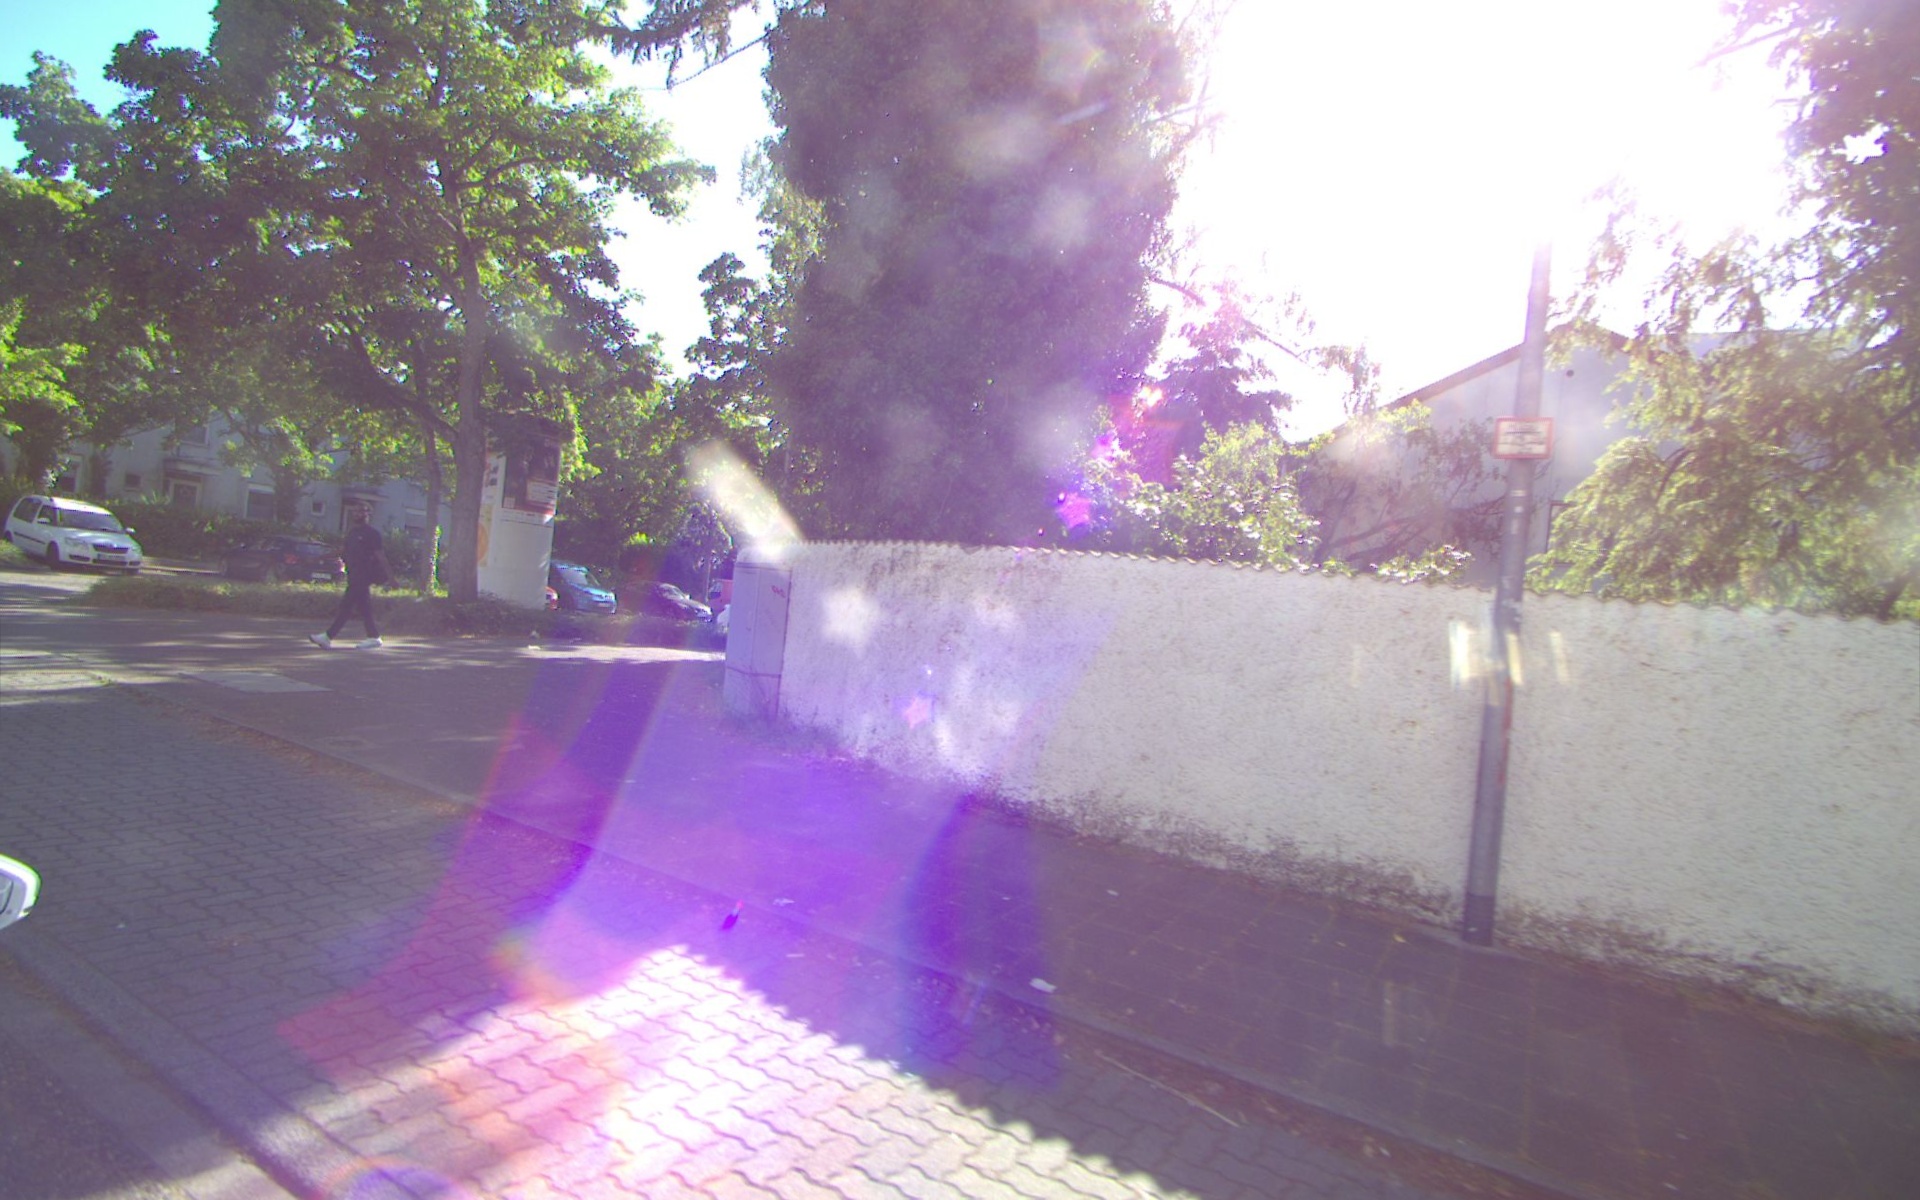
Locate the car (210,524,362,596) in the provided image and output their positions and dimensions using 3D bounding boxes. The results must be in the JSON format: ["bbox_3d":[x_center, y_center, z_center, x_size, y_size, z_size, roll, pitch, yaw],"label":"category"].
[{"bbox_3d":[-18.926,-1.129,28.218,4.097,1.423,1.826,8,1,29],"label":"car"}]

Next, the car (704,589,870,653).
[{"bbox_3d":[-5.017,0.599,28.964,4.612,1.423,1.825,4,-2,32],"label":"car"}]

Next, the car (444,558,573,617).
[{"bbox_3d":[-15.449,-0.437,34.387,4.097,1.423,1.826,8,1,29],"label":"car"}]

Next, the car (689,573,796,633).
[{"bbox_3d":[-9.633,0.130,44.424,4.187,2.057,1.971,8,1,29],"label":"car"}]

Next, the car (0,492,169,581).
[{"bbox_3d":[-21.342,-1.551,24.424,4.097,1.618,1.826,8,1,29],"label":"car"}]

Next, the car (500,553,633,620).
[{"bbox_3d":[-14.212,-0.493,36.289,4.585,1.794,1.826,8,1,29],"label":"car"}]

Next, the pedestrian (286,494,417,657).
[{"bbox_3d":[-6.954,-0.263,11.545,0.823,1.705,0.807,7,1,0],"label":"pedestrian"}]

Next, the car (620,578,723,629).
[{"bbox_3d":[-11.580,0.125,40.348,3.722,1.492,1.766,8,1,29],"label":"car"}]
